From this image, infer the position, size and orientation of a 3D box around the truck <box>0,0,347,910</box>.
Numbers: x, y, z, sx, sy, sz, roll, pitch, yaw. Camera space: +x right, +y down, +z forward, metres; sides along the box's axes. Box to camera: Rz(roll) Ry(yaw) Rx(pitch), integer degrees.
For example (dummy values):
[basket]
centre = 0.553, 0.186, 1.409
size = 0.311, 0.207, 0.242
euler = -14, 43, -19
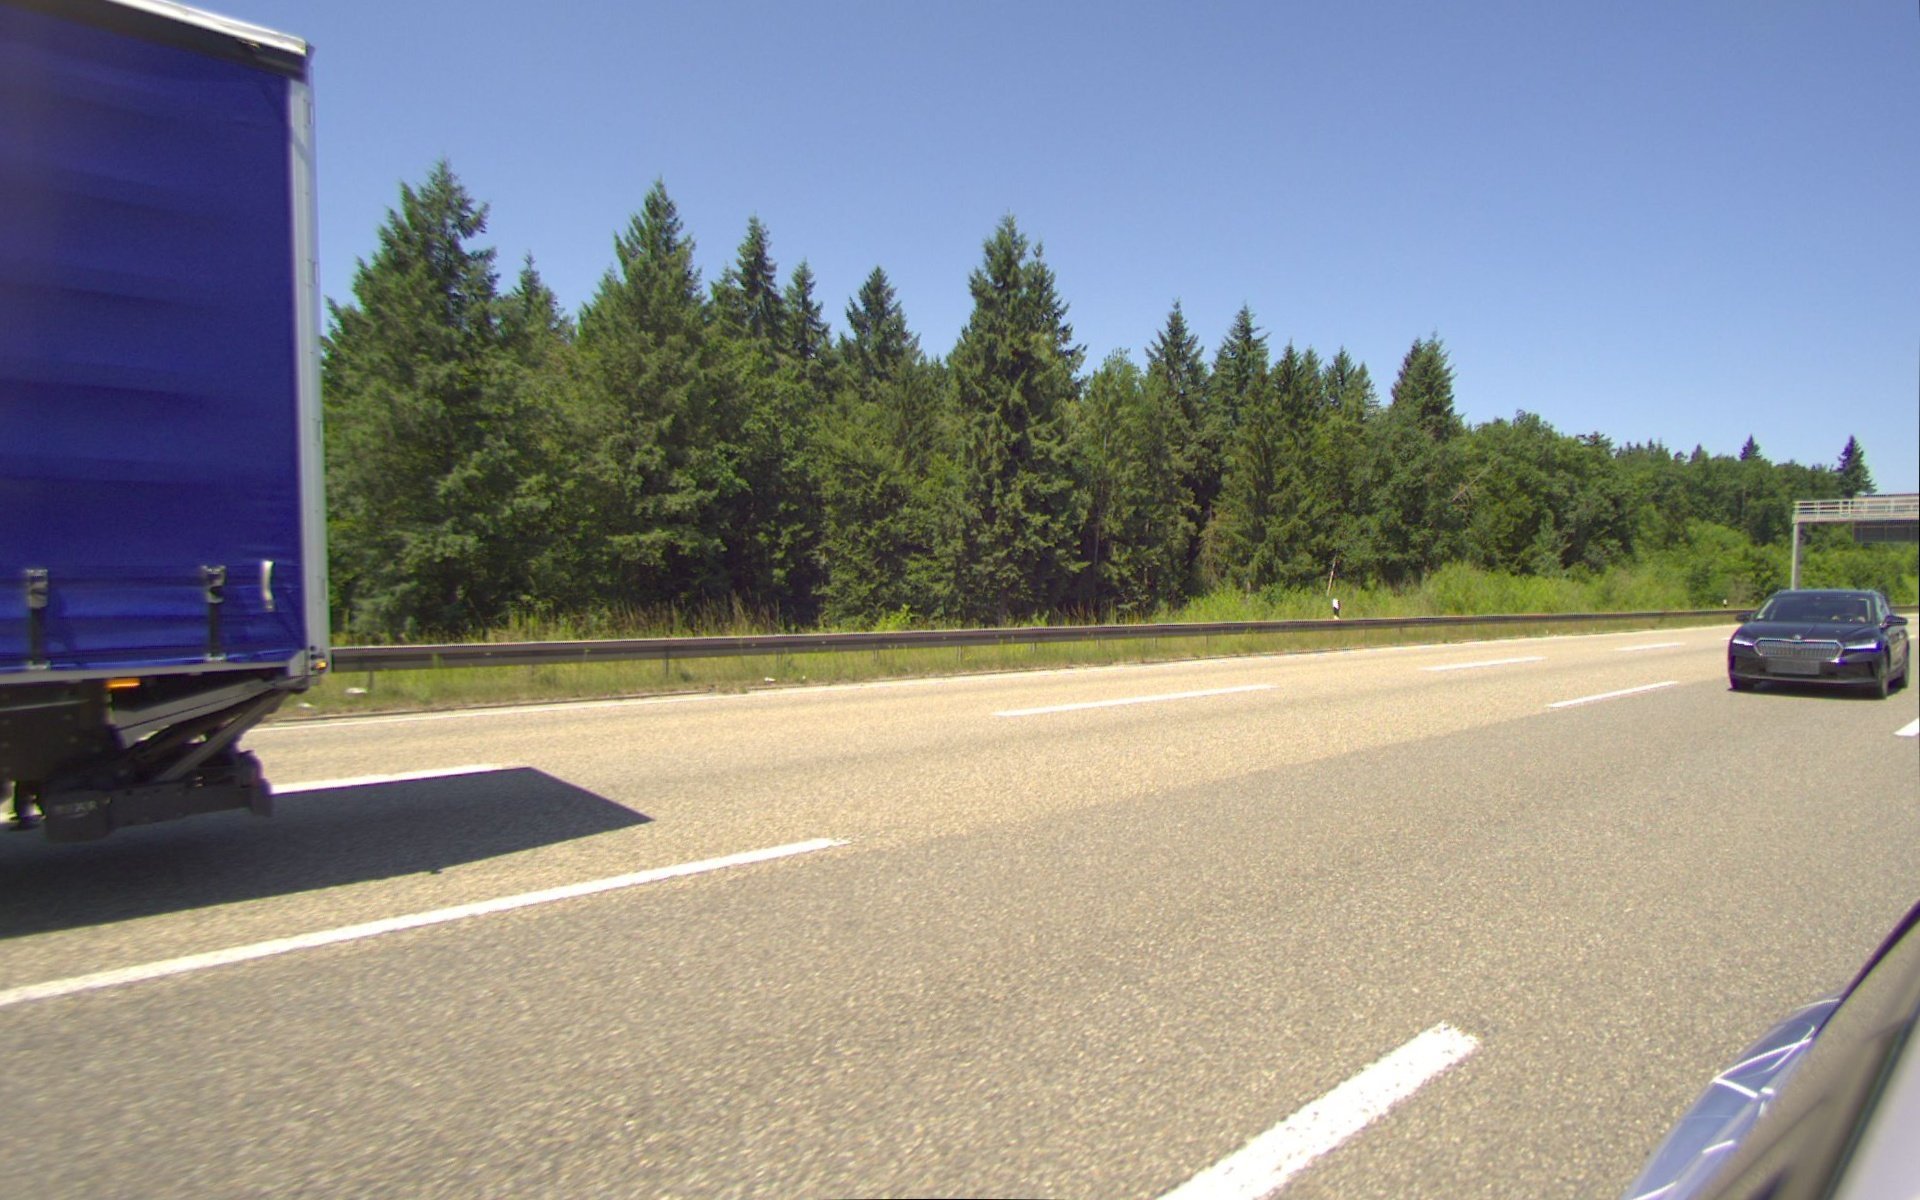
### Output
[truck]
centre = -7.419, -0.819, 2.702
size = 9.572, 4.180, 2.787
euler = -1, 0, -42

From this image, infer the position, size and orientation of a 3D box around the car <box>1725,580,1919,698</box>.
[car]
centre = 14.161, 0.500, 16.339
size = 4.379, 1.639, 1.989
euler = -1, 2, -40
